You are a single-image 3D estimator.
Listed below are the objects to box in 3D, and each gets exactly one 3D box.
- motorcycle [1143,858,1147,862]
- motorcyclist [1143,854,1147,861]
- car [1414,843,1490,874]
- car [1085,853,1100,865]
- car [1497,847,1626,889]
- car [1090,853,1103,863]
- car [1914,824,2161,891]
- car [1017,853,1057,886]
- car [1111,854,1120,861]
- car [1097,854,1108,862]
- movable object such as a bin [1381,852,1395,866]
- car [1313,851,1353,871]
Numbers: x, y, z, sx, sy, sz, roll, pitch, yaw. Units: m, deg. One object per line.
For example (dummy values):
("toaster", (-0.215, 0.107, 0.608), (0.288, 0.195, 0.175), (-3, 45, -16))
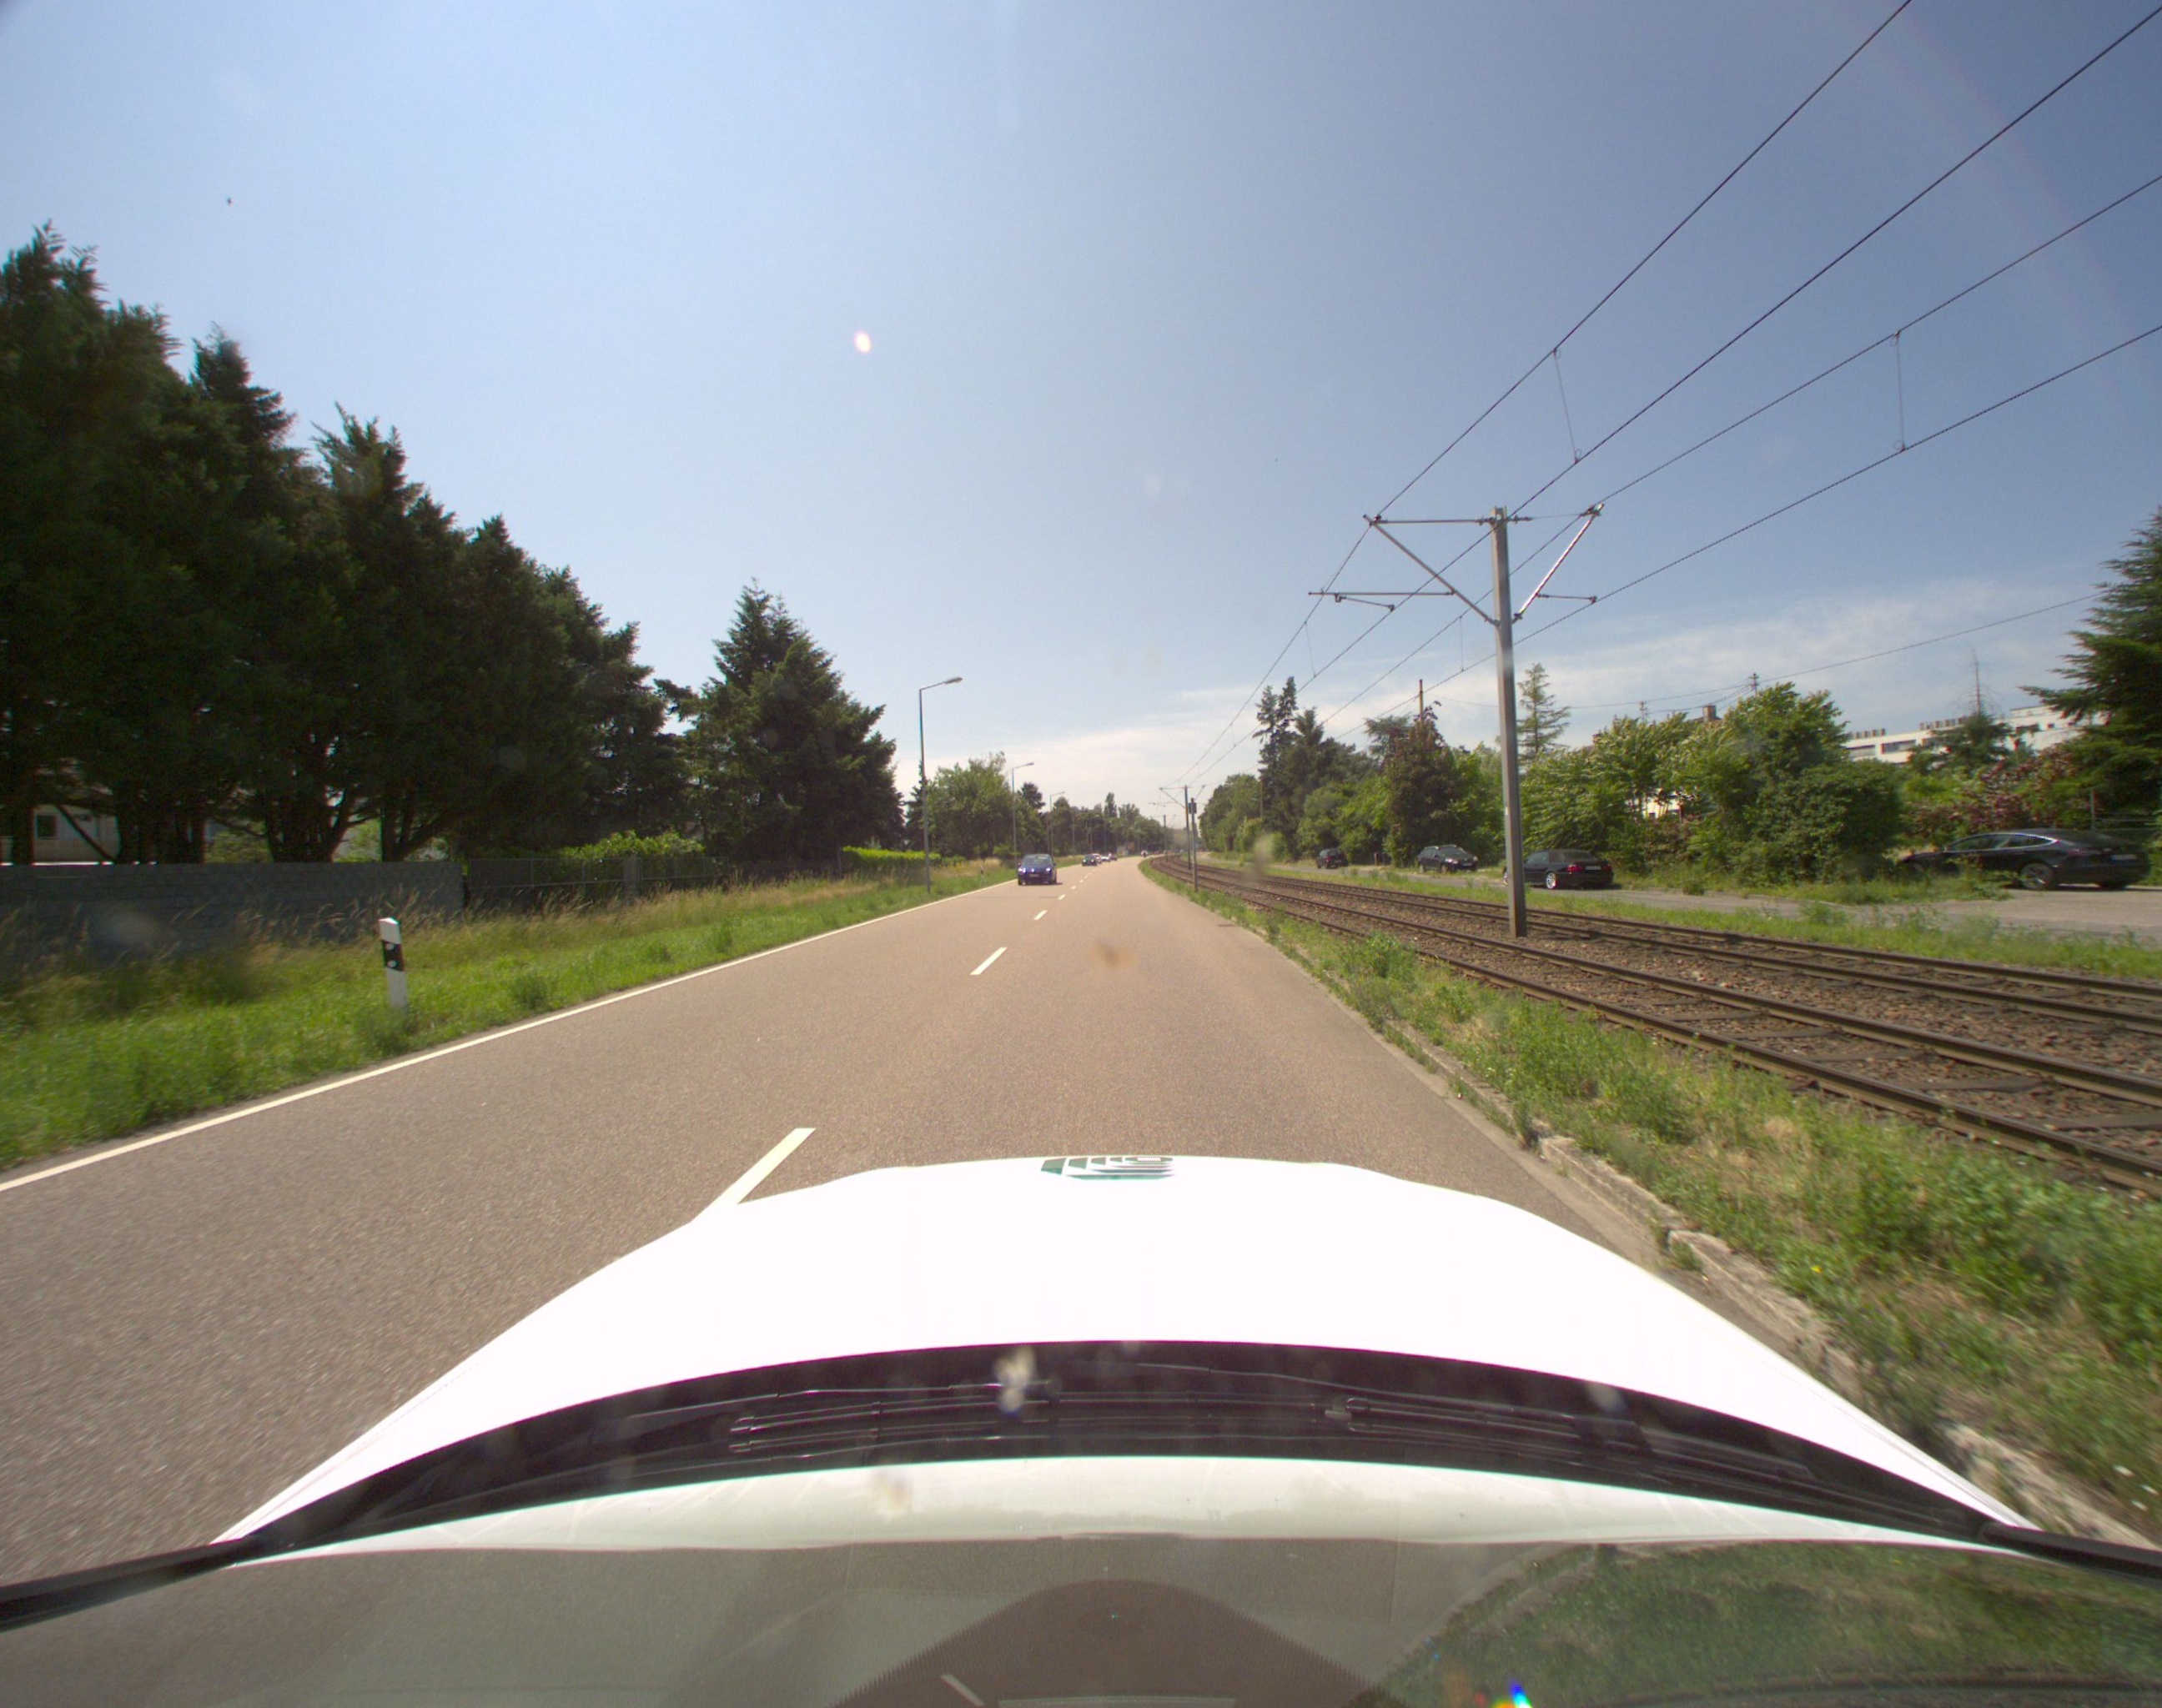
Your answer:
("motorcycle", (16.506, 1.508, 210.752), (0.965, 1.117, 2.738), (-1, 0, 7))
("motorcyclist", (16.477, 0.910, 210.678), (0.887, 1.905, 1.017), (-1, -1, 7))
("car", (19.664, 0.232, 43.374), (1.928, 1.561, 4.556), (-1, 0, 0))
("car", (1.473, 0.675, 104.717), (1.693, 1.491, 4.443), (-1, 0, 3))
("car", (16.632, 0.459, 28.471), (1.855, 1.330, 4.514), (-1, 0, 0))
("car", (2.324, 0.613, 121.724), (1.740, 1.503, 3.710), (-1, 0, 3))
("car", (22.784, 0.082, 19.566), (1.715, 1.419, 3.739), (-1, 0, 0))
("car", (-2.308, 0.815, 43.707), (1.740, 1.632, 4.031), (-1, 0, 2))
("car", (6.817, 0.636, 159.837), (1.742, 1.301, 4.257), (-3, 0, 3))
("car", (3.778, 0.719, 141.291), (1.675, 1.249, 3.912), (-1, 0, 3))
("movable object such as a bin", (21.275, 0.368, 56.477), (0.721, 0.937, 0.621), (-1, 0, 2))
("car", (18.944, 0.522, 61.328), (1.906, 1.470, 4.003), (-1, 0, 3))
